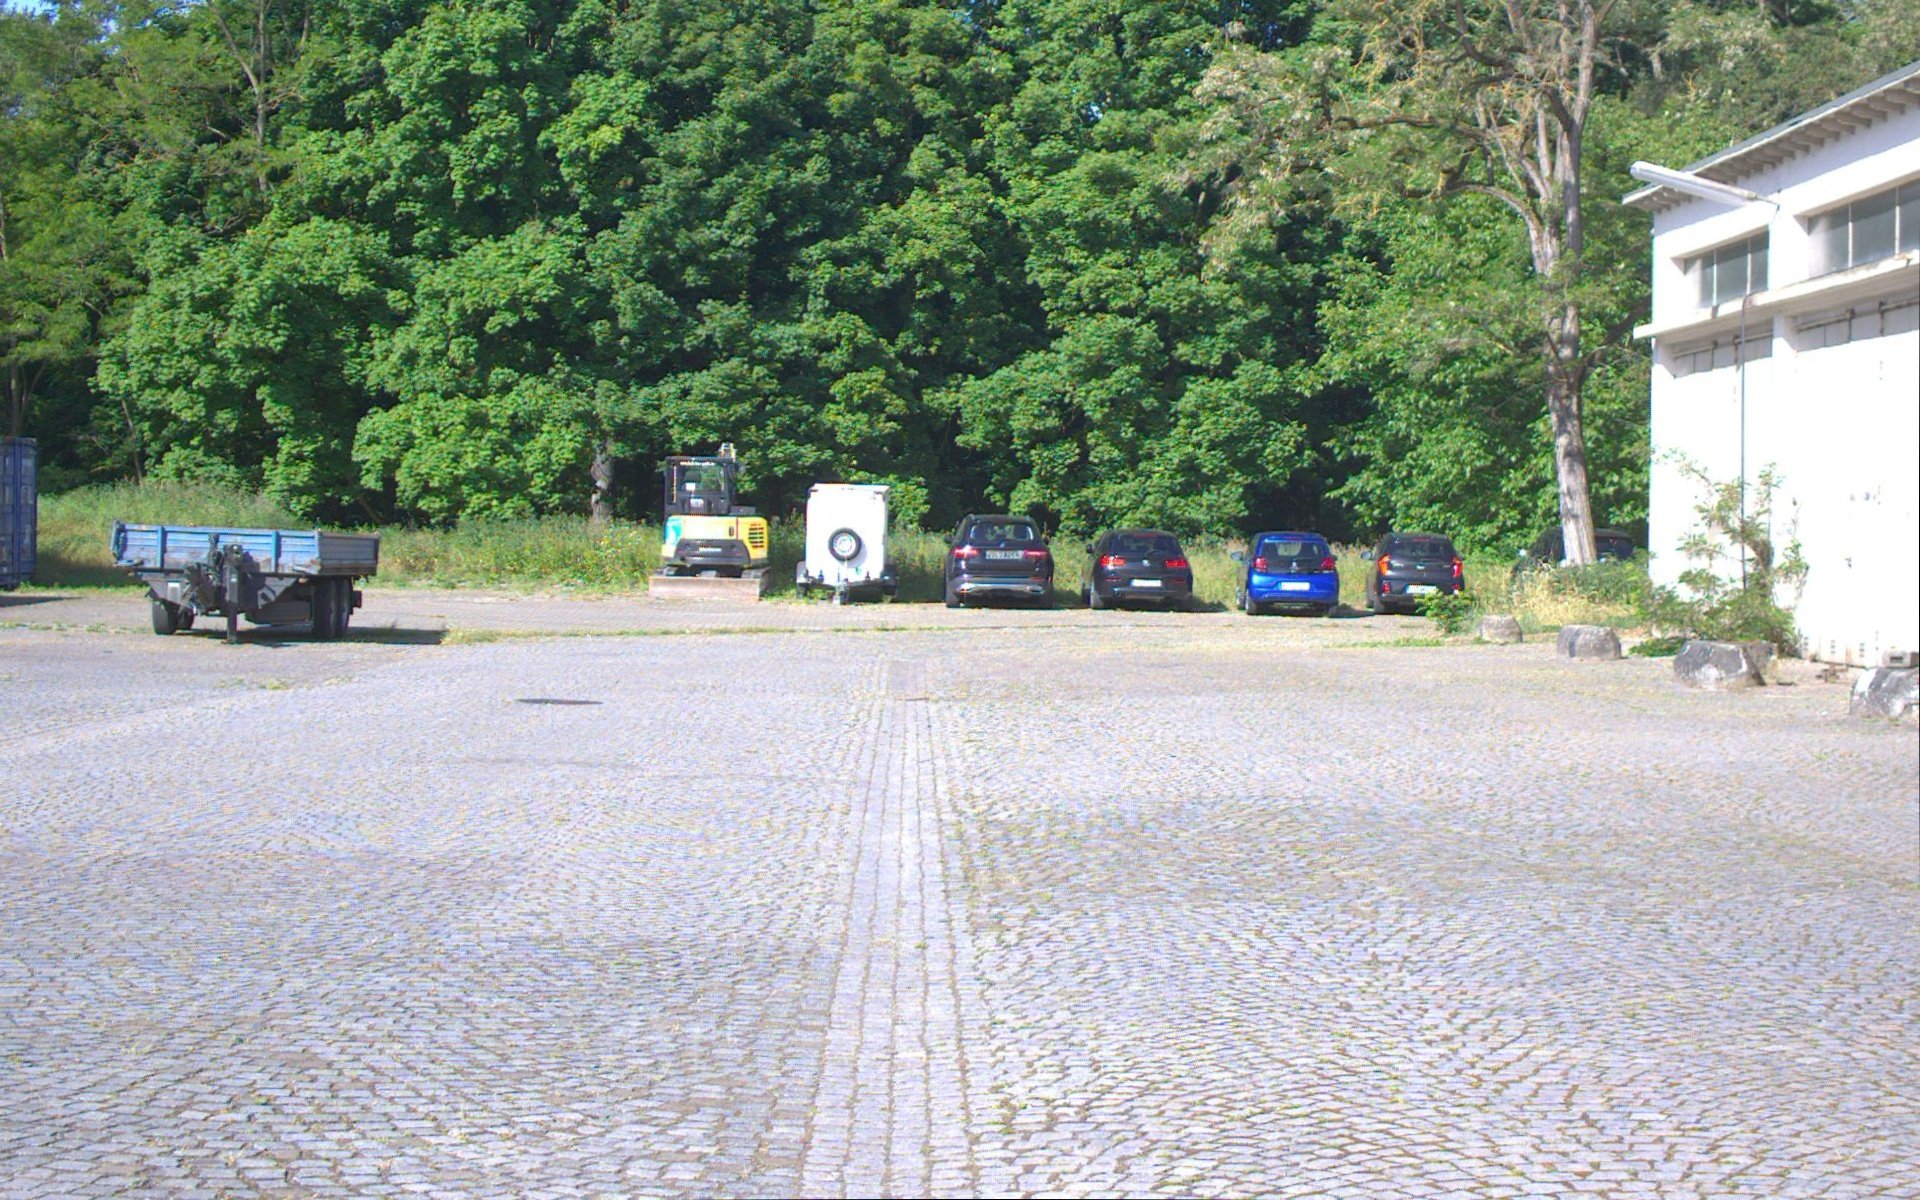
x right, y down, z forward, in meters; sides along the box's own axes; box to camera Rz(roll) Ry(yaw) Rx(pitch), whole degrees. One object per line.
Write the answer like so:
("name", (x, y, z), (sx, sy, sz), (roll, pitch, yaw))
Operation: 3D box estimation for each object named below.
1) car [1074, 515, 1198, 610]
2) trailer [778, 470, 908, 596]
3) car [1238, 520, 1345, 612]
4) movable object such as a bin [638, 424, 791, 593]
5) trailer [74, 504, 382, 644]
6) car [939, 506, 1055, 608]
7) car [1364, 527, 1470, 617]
("car", (3.100, -0.700, 61.304), (1.863, 1.465, 4.296), (2, 2, -1))
("trailer", (-2.115, -1.288, 63.265), (2.193, 2.087, 5.752), (2, 2, -1))
("car", (5.869, -0.631, 61.264), (1.744, 1.431, 4.183), (3, 2, 4))
("movable object such as a bin", (-4.494, -1.746, 63.831), (2.306, 2.886, 5.752), (2, 2, 0))
("trailer", (-9.044, -0.387, 43.136), (2.705, 1.460, 6.248), (2, 2, -2))
("car", (0.616, -0.795, 60.916), (1.863, 1.583, 4.296), (2, 2, -1))
("car", (8.297, -0.538, 62.694), (1.744, 1.431, 4.182), (3, 2, 6))
